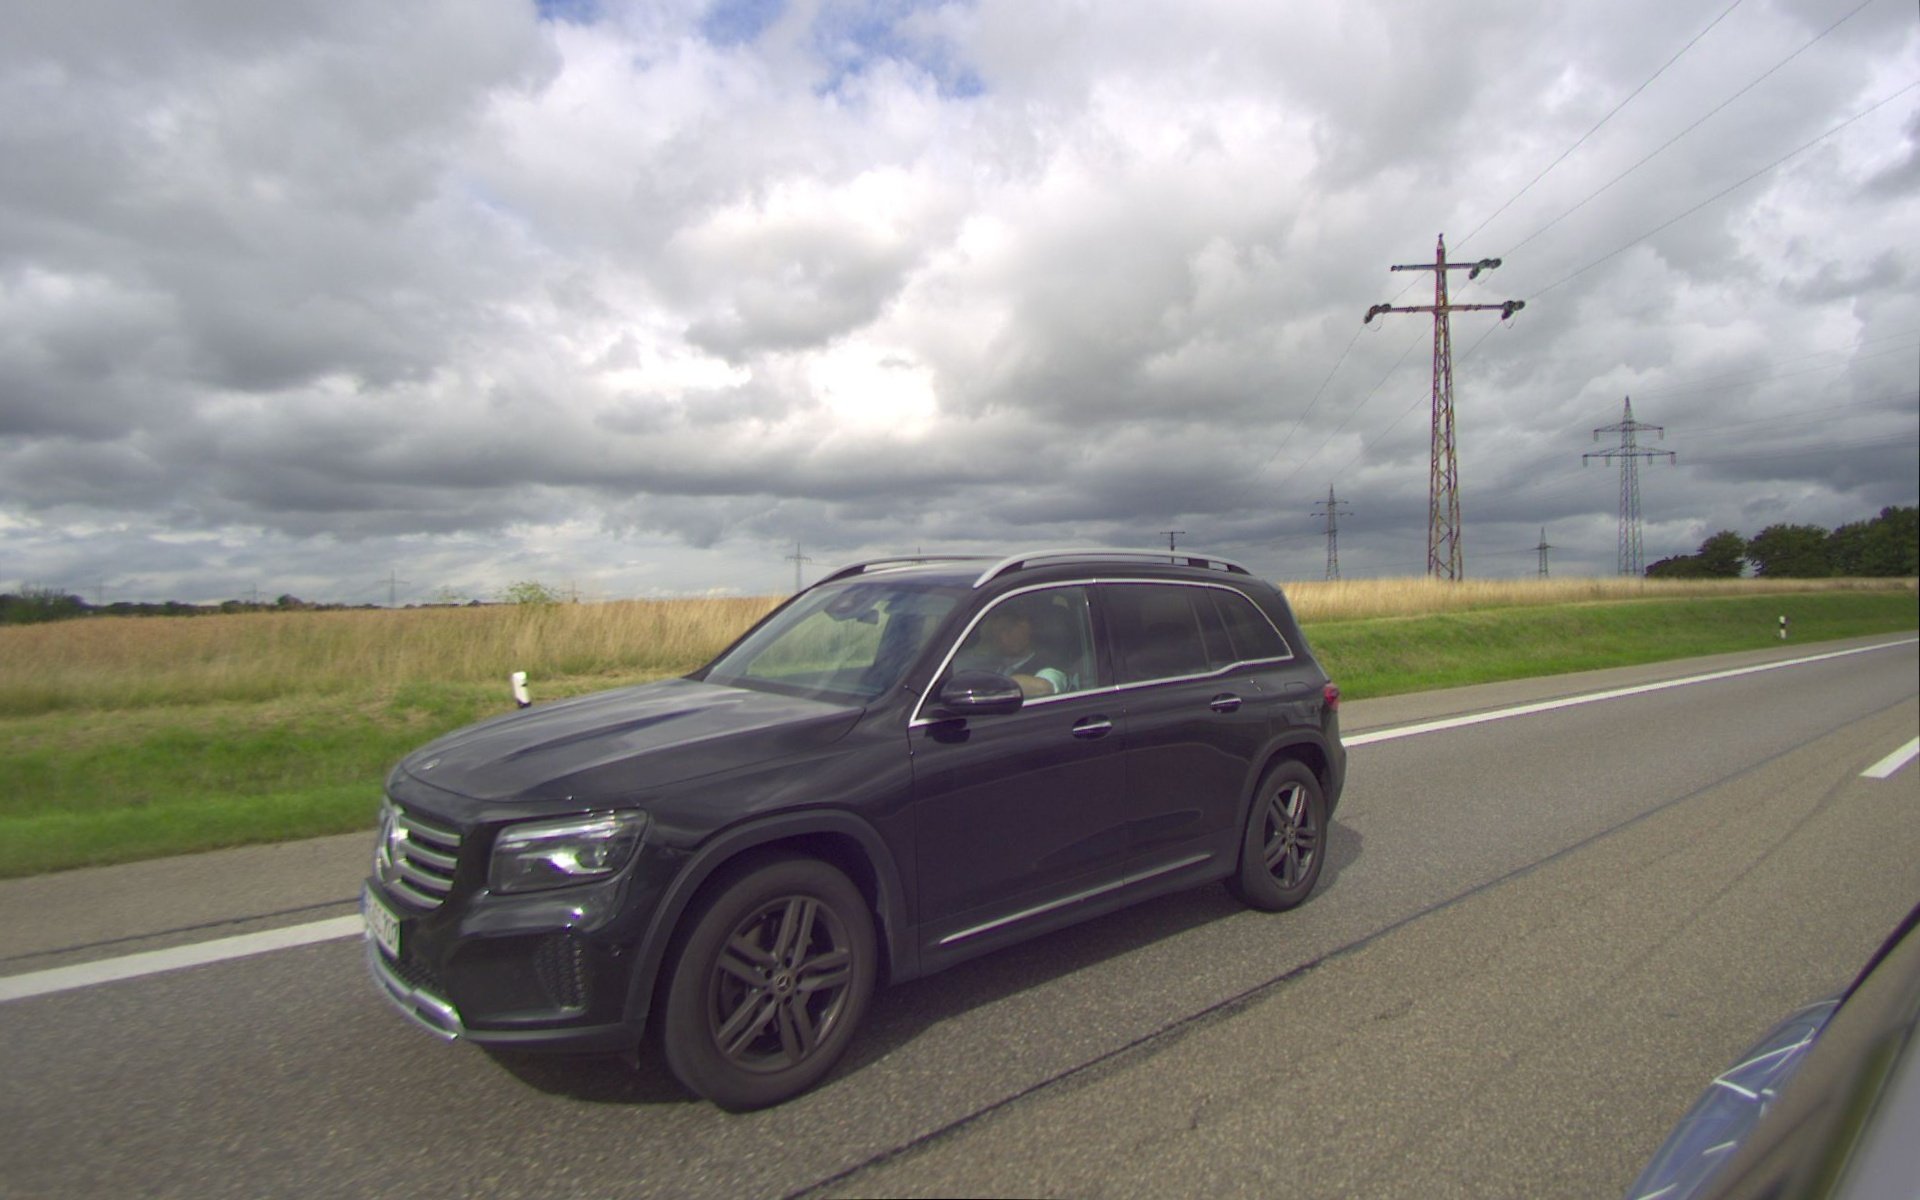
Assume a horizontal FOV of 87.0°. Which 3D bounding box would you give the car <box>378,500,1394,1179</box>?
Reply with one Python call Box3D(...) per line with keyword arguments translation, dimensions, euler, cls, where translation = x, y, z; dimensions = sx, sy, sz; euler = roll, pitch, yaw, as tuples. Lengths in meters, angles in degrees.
Box3D(translation=(0.006, 0.545, 4.521), dimensions=(4.283, 1.629, 1.837), euler=(-1, 1, -40), cls="car")
